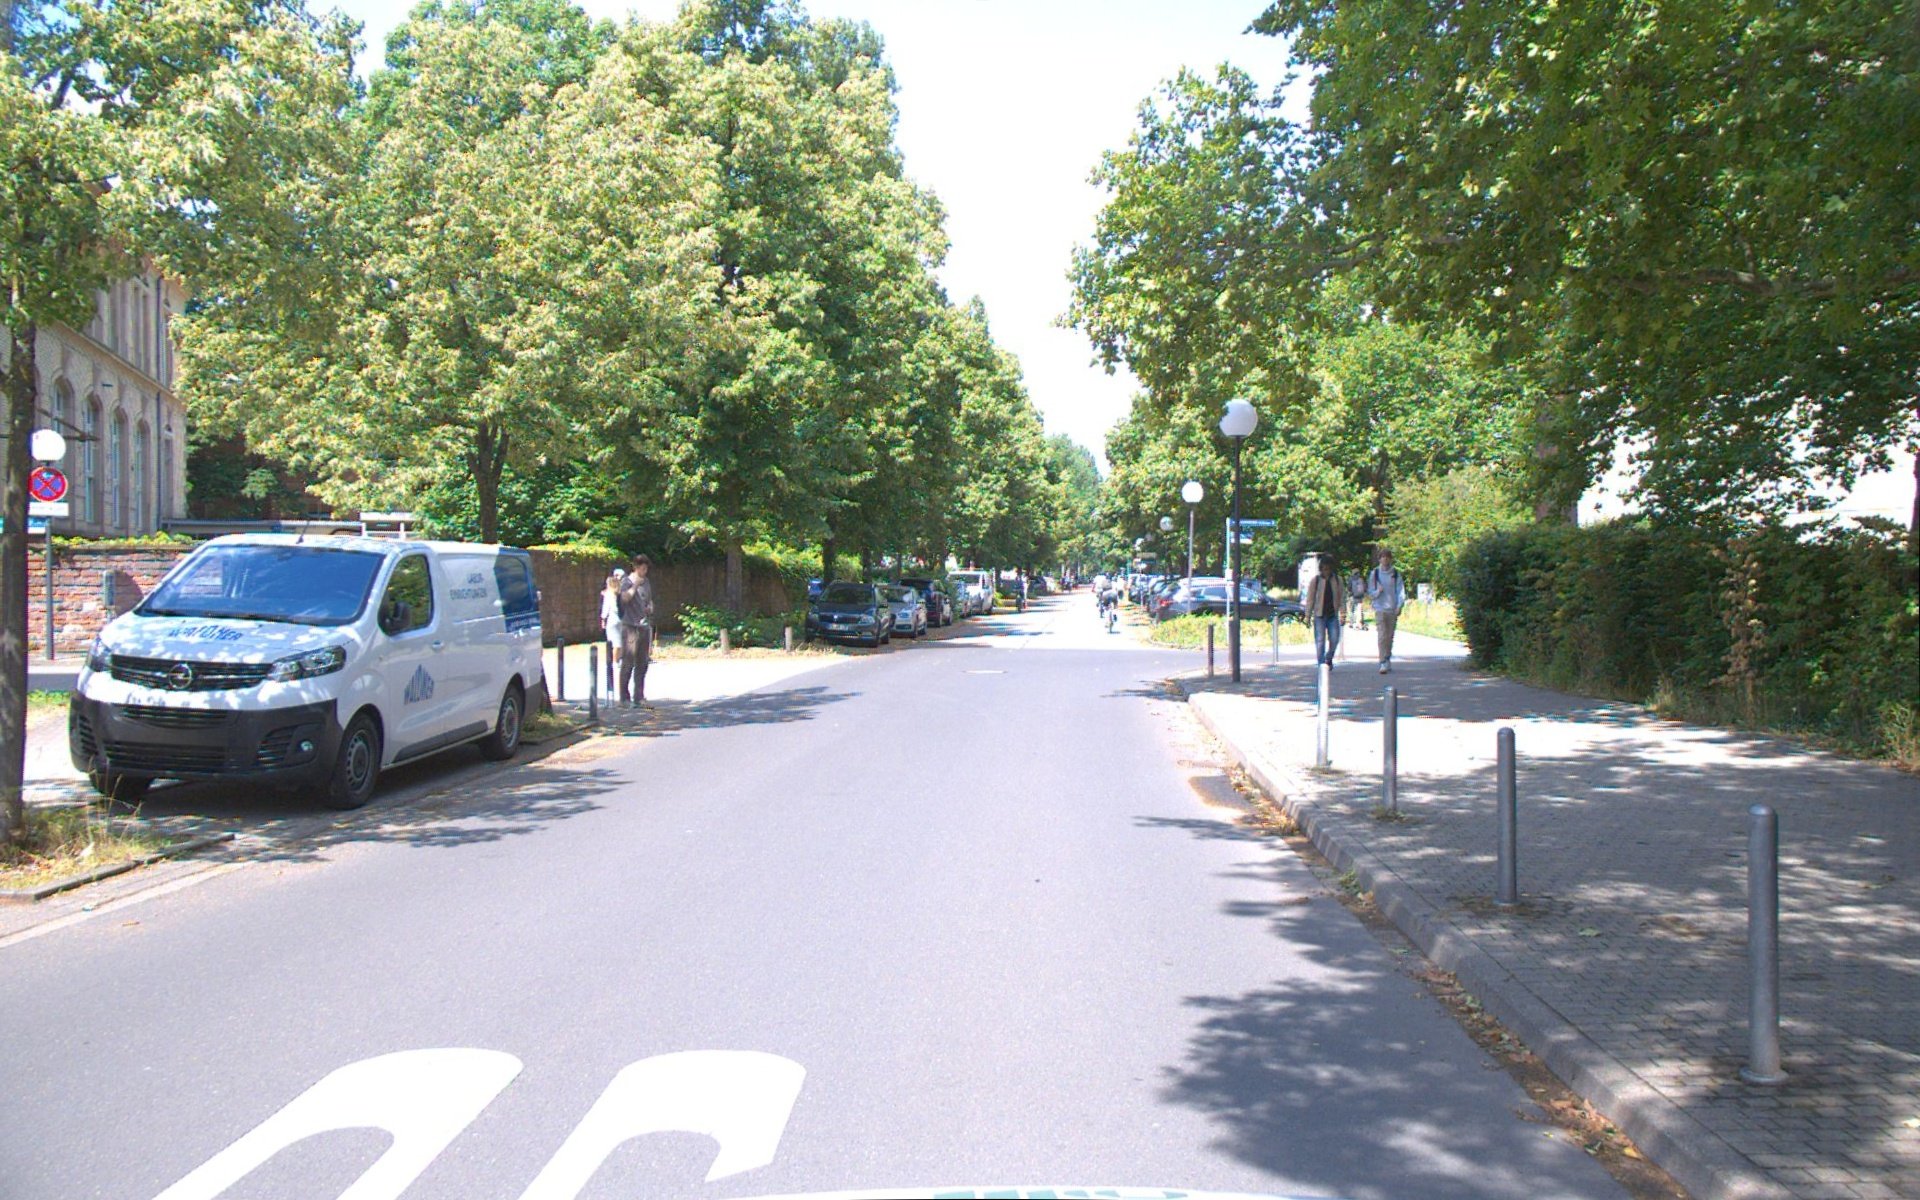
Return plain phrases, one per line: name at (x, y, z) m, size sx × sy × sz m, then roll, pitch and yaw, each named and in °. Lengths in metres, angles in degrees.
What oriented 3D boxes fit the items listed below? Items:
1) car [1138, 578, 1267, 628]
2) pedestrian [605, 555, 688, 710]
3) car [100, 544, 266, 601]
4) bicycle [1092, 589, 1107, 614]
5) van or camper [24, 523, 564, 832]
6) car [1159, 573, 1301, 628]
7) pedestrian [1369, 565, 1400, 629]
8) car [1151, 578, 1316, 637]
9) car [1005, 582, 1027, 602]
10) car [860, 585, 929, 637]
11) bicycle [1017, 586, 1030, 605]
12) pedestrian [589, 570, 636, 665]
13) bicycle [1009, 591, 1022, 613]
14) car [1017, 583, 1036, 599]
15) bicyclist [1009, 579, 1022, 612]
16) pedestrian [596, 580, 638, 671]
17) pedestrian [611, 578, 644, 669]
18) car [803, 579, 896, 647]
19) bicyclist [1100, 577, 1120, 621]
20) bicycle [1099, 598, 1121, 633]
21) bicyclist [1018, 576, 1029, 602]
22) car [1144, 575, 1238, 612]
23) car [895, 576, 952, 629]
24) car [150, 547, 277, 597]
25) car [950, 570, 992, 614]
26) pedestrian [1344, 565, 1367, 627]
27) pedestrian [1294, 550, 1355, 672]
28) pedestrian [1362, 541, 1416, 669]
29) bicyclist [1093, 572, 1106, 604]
car at (8.143, 0.092, 55.771) m, size 4.167 × 1.616 × 1.812 m, roll -1°, pitch 0°, yaw 5°
pedestrian at (-3.916, 0.390, 20.679) m, size 0.709 × 1.889 × 0.791 m, roll 0°, pitch 0°, yaw 21°
car at (-21.895, -0.753, 46.666) m, size 4.053 × 1.543 × 1.736 m, roll 0°, pitch 1°, yaw -34°
bicycle at (5.693, 0.066, 67.553) m, size 0.601 × 1.018 × 1.424 m, roll 0°, pitch 1°, yaw 4°
van or camper at (-4.949, 0.465, 13.373) m, size 1.913 × 1.956 × 5.422 m, roll 1°, pitch 1°, yaw 3°
car at (8.271, 0.006, 50.908) m, size 4.167 × 1.616 × 1.812 m, roll -1°, pitch 0°, yaw 5°
pedestrian at (12.113, -0.090, 47.192) m, size 0.803 × 1.786 × 0.629 m, roll 0°, pitch 0°, yaw 10°
car at (7.559, 0.196, 46.041) m, size 4.391 × 1.552 × 1.812 m, roll -1°, pitch 0°, yaw 5°
car at (4.083, -0.601, 119.803) m, size 1.582 × 1.388 × 4.002 m, roll 0°, pitch 1°, yaw 3°
car at (-1.835, 0.285, 47.546) m, size 1.582 × 1.412 × 4.002 m, roll 0°, pitch 1°, yaw 4°
bicycle at (3.315, -0.233, 86.199) m, size 0.601 × 1.018 × 1.424 m, roll 0°, pitch 1°, yaw 4°
pedestrian at (-6.309, 0.308, 30.059) m, size 0.593 × 1.692 × 0.624 m, roll 0°, pitch 0°, yaw 44°
bicycle at (2.561, 0.098, 76.325) m, size 0.565 × 1.018 × 1.424 m, roll 0°, pitch 1°, yaw 4°
car at (5.745, -0.781, 142.728) m, size 1.582 × 1.388 × 4.002 m, roll 0°, pitch 1°, yaw 3°
bicyclist at (2.552, -0.205, 76.252) m, size 0.551 × 1.524 × 0.828 m, roll 0°, pitch 0°, yaw 4°
pedestrian at (-5.978, 0.435, 28.813) m, size 0.579 × 1.553 × 0.488 m, roll 0°, pitch 0°, yaw -34°
pedestrian at (-5.941, 0.406, 29.544) m, size 0.488 × 1.613 × 0.490 m, roll 0°, pitch 0°, yaw -27°
car at (-2.603, 0.277, 39.939) m, size 1.723 × 1.548 × 4.113 m, roll 0°, pitch 1°, yaw 4°
bicyclist at (4.515, -0.025, 49.772) m, size 0.596 × 1.318 × 0.611 m, roll 0°, pitch 0°, yaw 3°
bicycle at (4.511, 0.448, 49.770) m, size 0.601 × 1.018 × 1.424 m, roll 0°, pitch 1°, yaw 4°
bicyclist at (3.313, -0.575, 86.172) m, size 0.595 × 1.318 × 0.611 m, roll 0°, pitch 0°, yaw 3°
car at (10.567, -0.321, 75.989) m, size 4.167 × 1.616 × 1.921 m, roll -1°, pitch 0°, yaw 5°
car at (-1.201, 0.056, 56.157) m, size 1.582 × 1.708 × 4.002 m, roll 0°, pitch 1°, yaw 4°
car at (-25.089, -0.944, 55.718) m, size 3.798 × 1.650 × 1.745 m, roll 0°, pitch 1°, yaw -21°
car at (0.514, -0.340, 71.452) m, size 1.582 × 1.847 × 4.002 m, roll 0°, pitch 1°, yaw 4°
pedestrian at (11.372, -0.115, 47.575) m, size 0.588 × 1.786 × 0.629 m, roll 0°, pitch 0°, yaw 11°
pedestrian at (5.495, 0.160, 24.969) m, size 0.803 × 1.786 × 0.841 m, roll -1°, pitch 0°, yaw 10°
pedestrian at (6.464, 0.071, 24.951) m, size 0.657 × 1.905 × 0.792 m, roll 0°, pitch 0°, yaw 5°
bicyclist at (5.682, -0.484, 67.546) m, size 0.511 × 1.318 × 0.611 m, roll 0°, pitch 0°, yaw 4°
